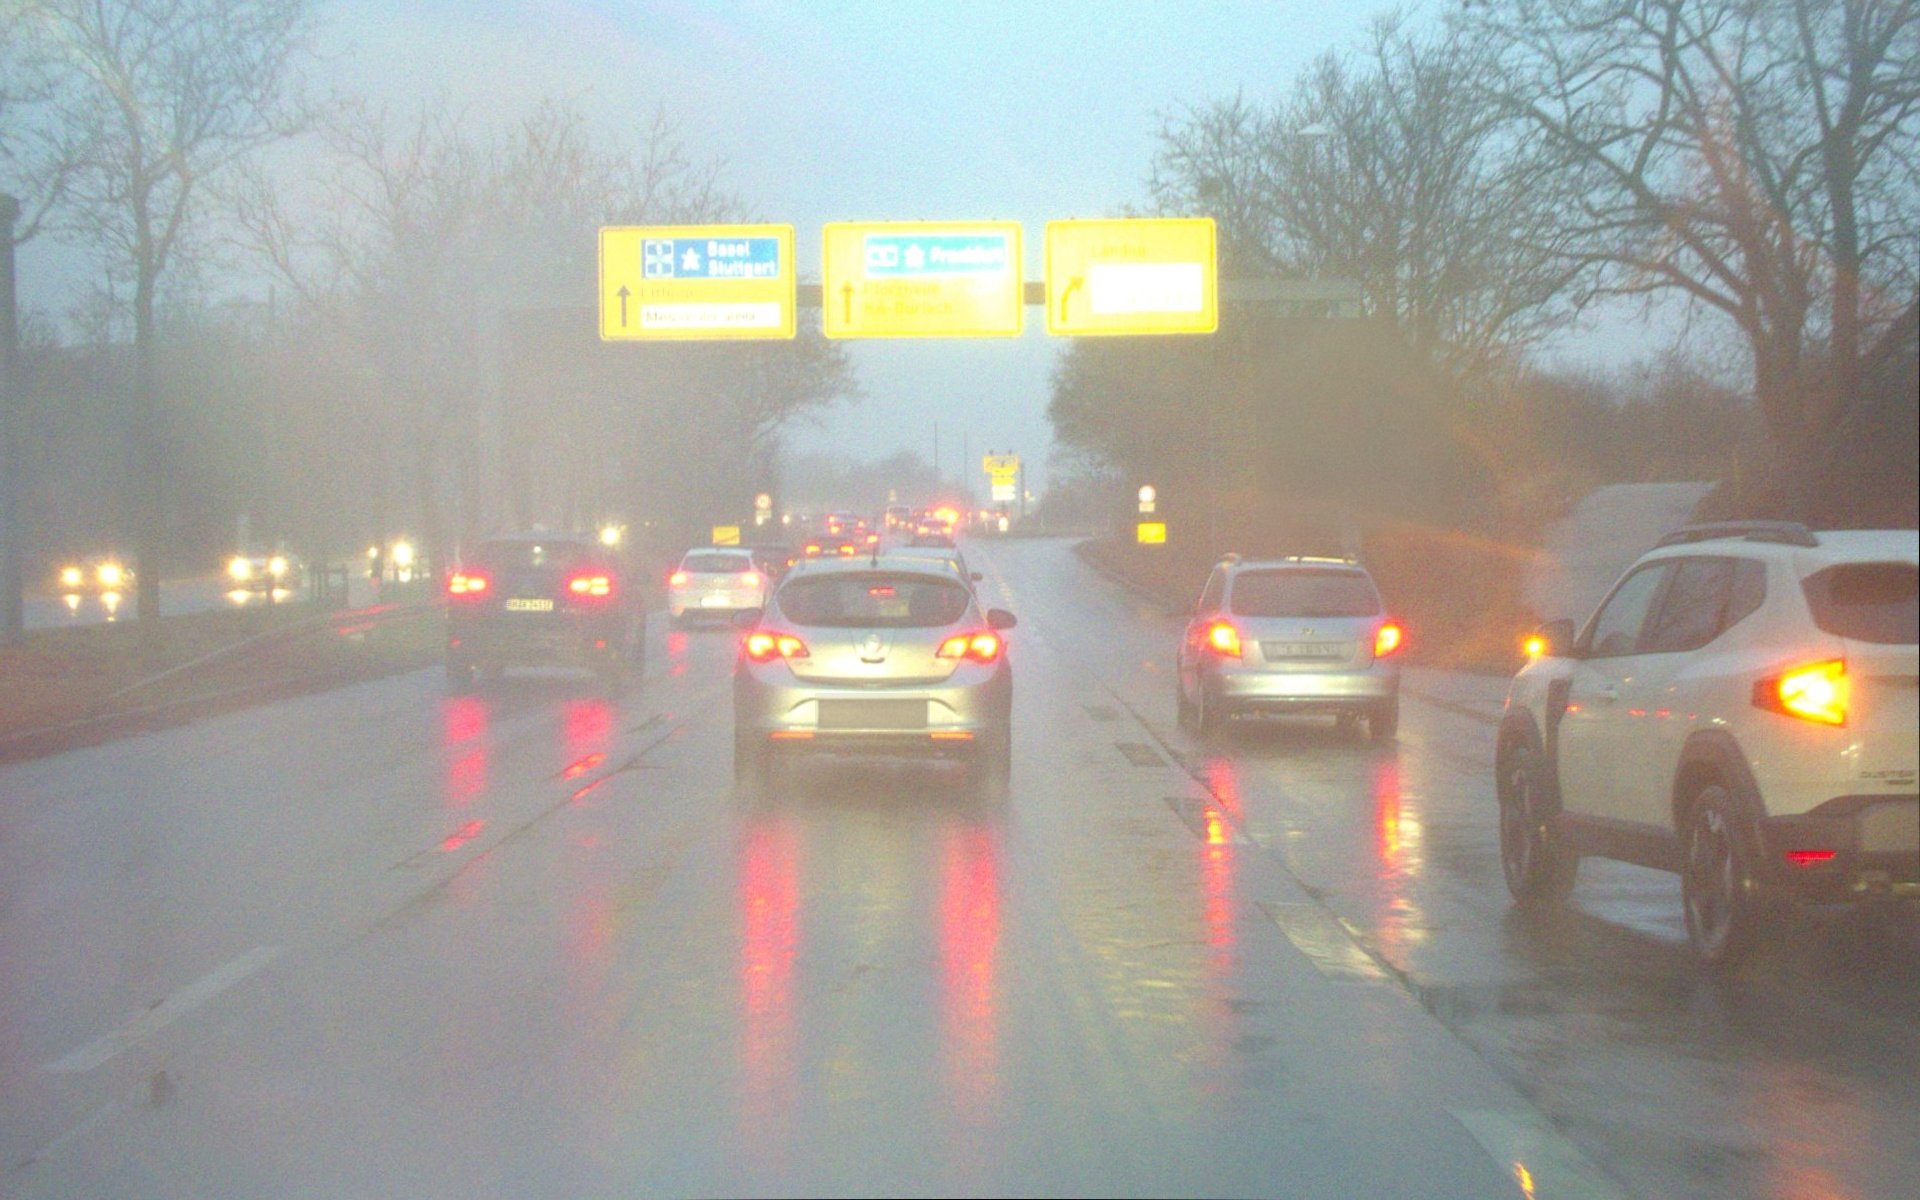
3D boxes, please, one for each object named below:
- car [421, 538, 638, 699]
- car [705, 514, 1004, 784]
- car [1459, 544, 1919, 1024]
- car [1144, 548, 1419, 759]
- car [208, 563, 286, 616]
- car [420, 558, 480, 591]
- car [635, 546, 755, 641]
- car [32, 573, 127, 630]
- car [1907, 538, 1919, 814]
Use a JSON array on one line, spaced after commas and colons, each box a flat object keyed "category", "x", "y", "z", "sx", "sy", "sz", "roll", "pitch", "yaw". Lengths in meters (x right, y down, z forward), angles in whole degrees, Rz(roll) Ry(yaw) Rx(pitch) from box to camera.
[{"category": "car", "x": -4.616, "y": 0.170, "z": 37.372, "sx": 1.822, "sy": 1.642, "sz": 4.000, "roll": 0, "pitch": 1, "yaw": 0}, {"category": "car", "x": -0.643, "y": 0.272, "z": 23.414, "sx": 1.822, "sy": 1.642, "sz": 4.466, "roll": -1, "pitch": 1, "yaw": 0}, {"category": "car", "x": 3.385, "y": 0.592, "z": 13.822, "sx": 1.815, "sy": 1.612, "sz": 4.411, "roll": 0, "pitch": 1, "yaw": -4}, {"category": "car", "x": 2.670, "y": 0.419, "z": 29.501, "sx": 1.933, "sy": 1.642, "sz": 4.466, "roll": 1, "pitch": 0, "yaw": 0}, {"category": "car", "x": -22.559, "y": -0.354, "z": 108.883, "sx": 1.785, "sy": 1.621, "sz": 3.575, "roll": 0, "pitch": 1, "yaw": -1}, {"category": "car", "x": -20.391, "y": -1.036, "z": 137.583, "sx": 1.751, "sy": 1.303, "sz": 4.316, "roll": 0, "pitch": 1, "yaw": 0}, {"category": "car", "x": -4.753, "y": -0.142, "z": 62.006, "sx": 1.822, "sy": 1.642, "sz": 4.000, "roll": 0, "pitch": 1, "yaw": 0}, {"category": "car", "x": -29.547, "y": 0.024, "z": 115.460, "sx": 1.993, "sy": 1.845, "sz": 4.426, "roll": 0, "pitch": 1, "yaw": 1}, {"category": "car", "x": 6.705, "y": 0.446, "z": 18.019, "sx": 1.966, "sy": 1.614, "sz": 4.548, "roll": -2, "pitch": 1, "yaw": -3}]
